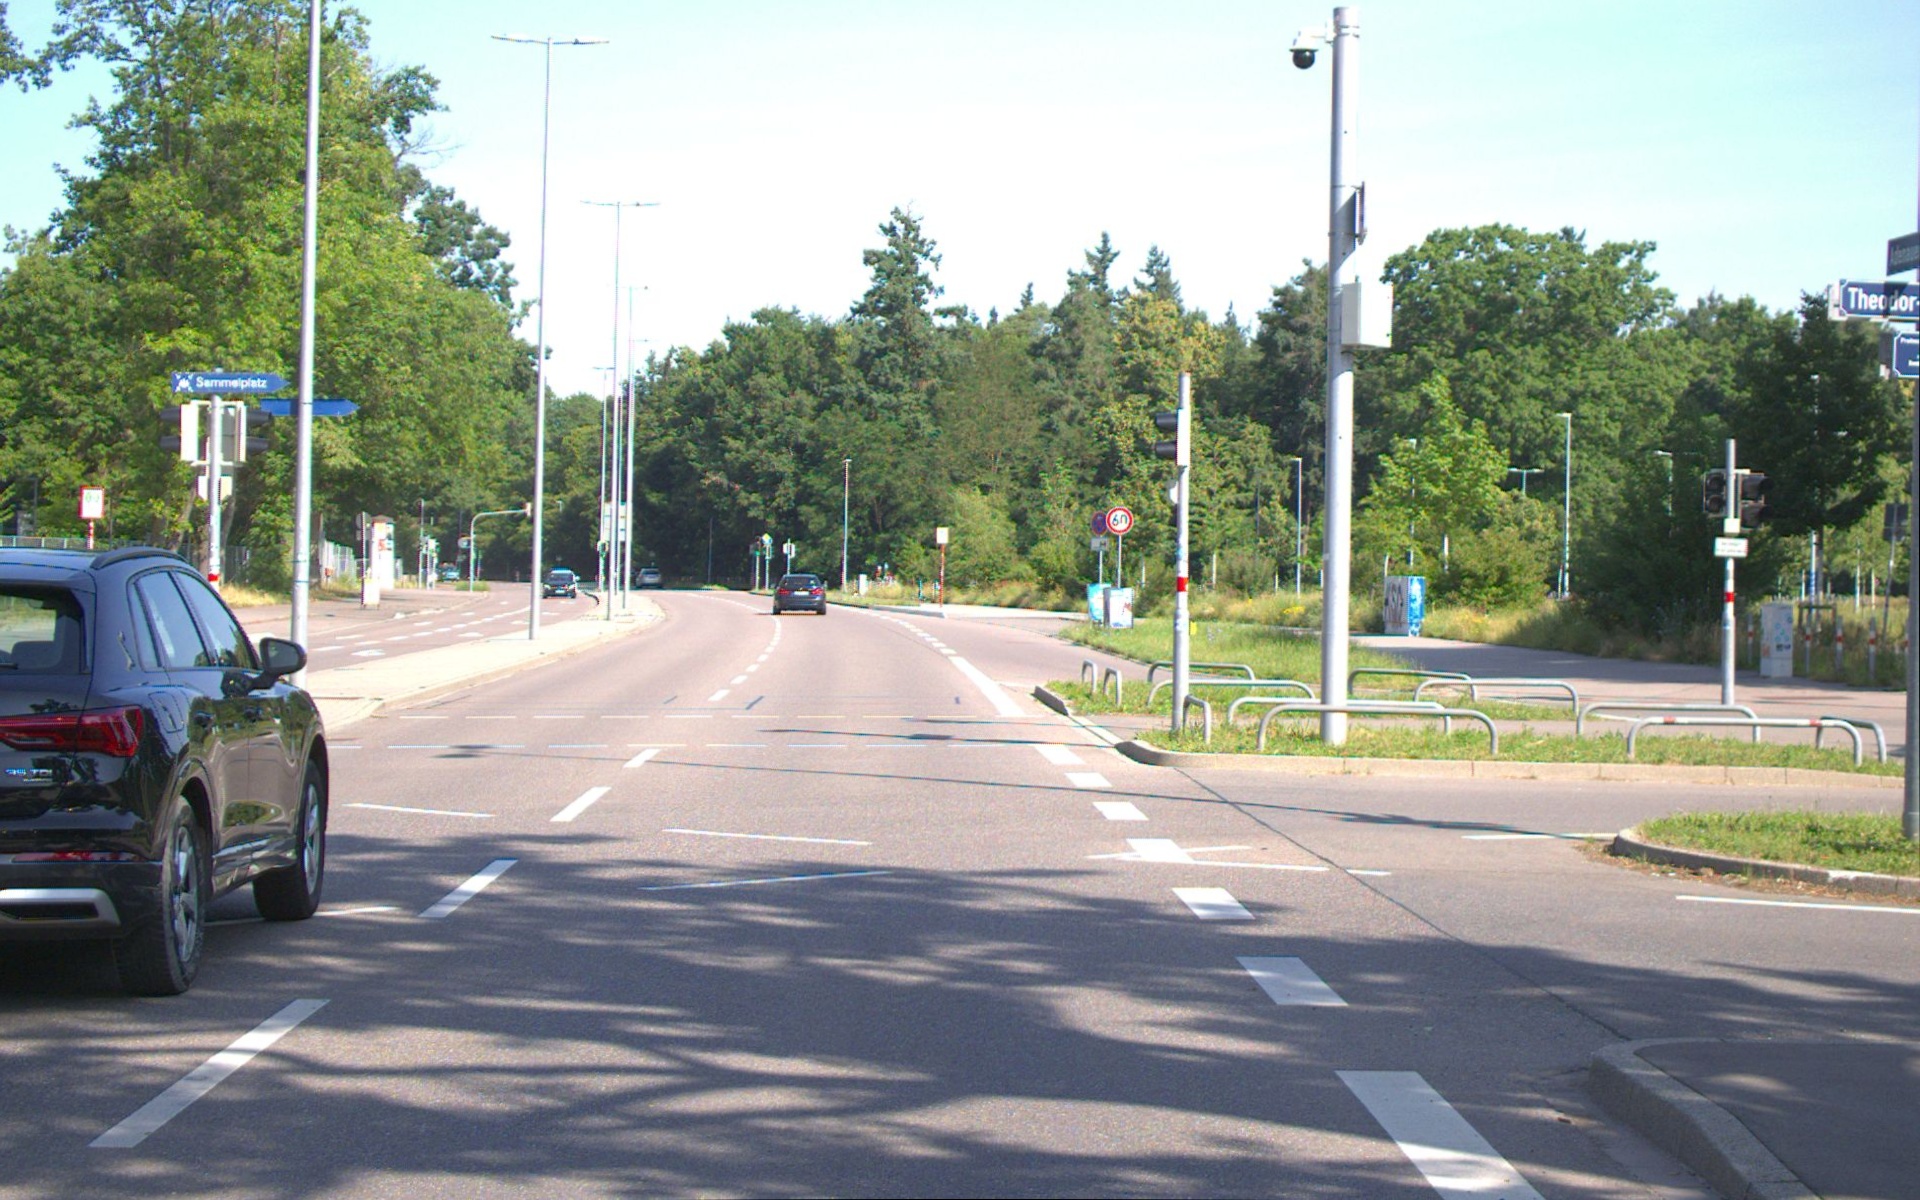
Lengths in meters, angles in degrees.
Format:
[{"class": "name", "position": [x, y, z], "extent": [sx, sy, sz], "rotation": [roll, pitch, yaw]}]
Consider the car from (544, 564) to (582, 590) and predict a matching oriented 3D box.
[{"class": "car", "position": [-21.766, -1.281, 188.482], "extent": [1.810, 1.383, 4.163], "rotation": [-1, 1, -10]}]

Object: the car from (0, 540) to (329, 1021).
[{"class": "car", "position": [-3.563, 0.552, 13.066], "extent": [1.687, 1.539, 4.149], "rotation": [0, 1, -2]}]

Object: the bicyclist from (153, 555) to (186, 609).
[{"class": "bicyclist", "position": [-21.938, -0.493, 95.394], "extent": [0.659, 1.462, 1.057], "rotation": [2, 0, -4]}]

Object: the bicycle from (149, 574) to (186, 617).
[{"class": "bicycle", "position": [-21.967, -0.136, 95.348], "extent": [0.659, 1.132, 1.879], "rotation": [2, 0, -4]}]

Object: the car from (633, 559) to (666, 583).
[{"class": "car", "position": [-23.464, -2.181, 259.567], "extent": [1.993, 1.744, 4.001], "rotation": [1, 0, -13]}]

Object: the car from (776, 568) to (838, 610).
[{"class": "car", "position": [-5.389, -0.406, 120.707], "extent": [1.940, 1.415, 4.294], "rotation": [1, 1, -6]}]
